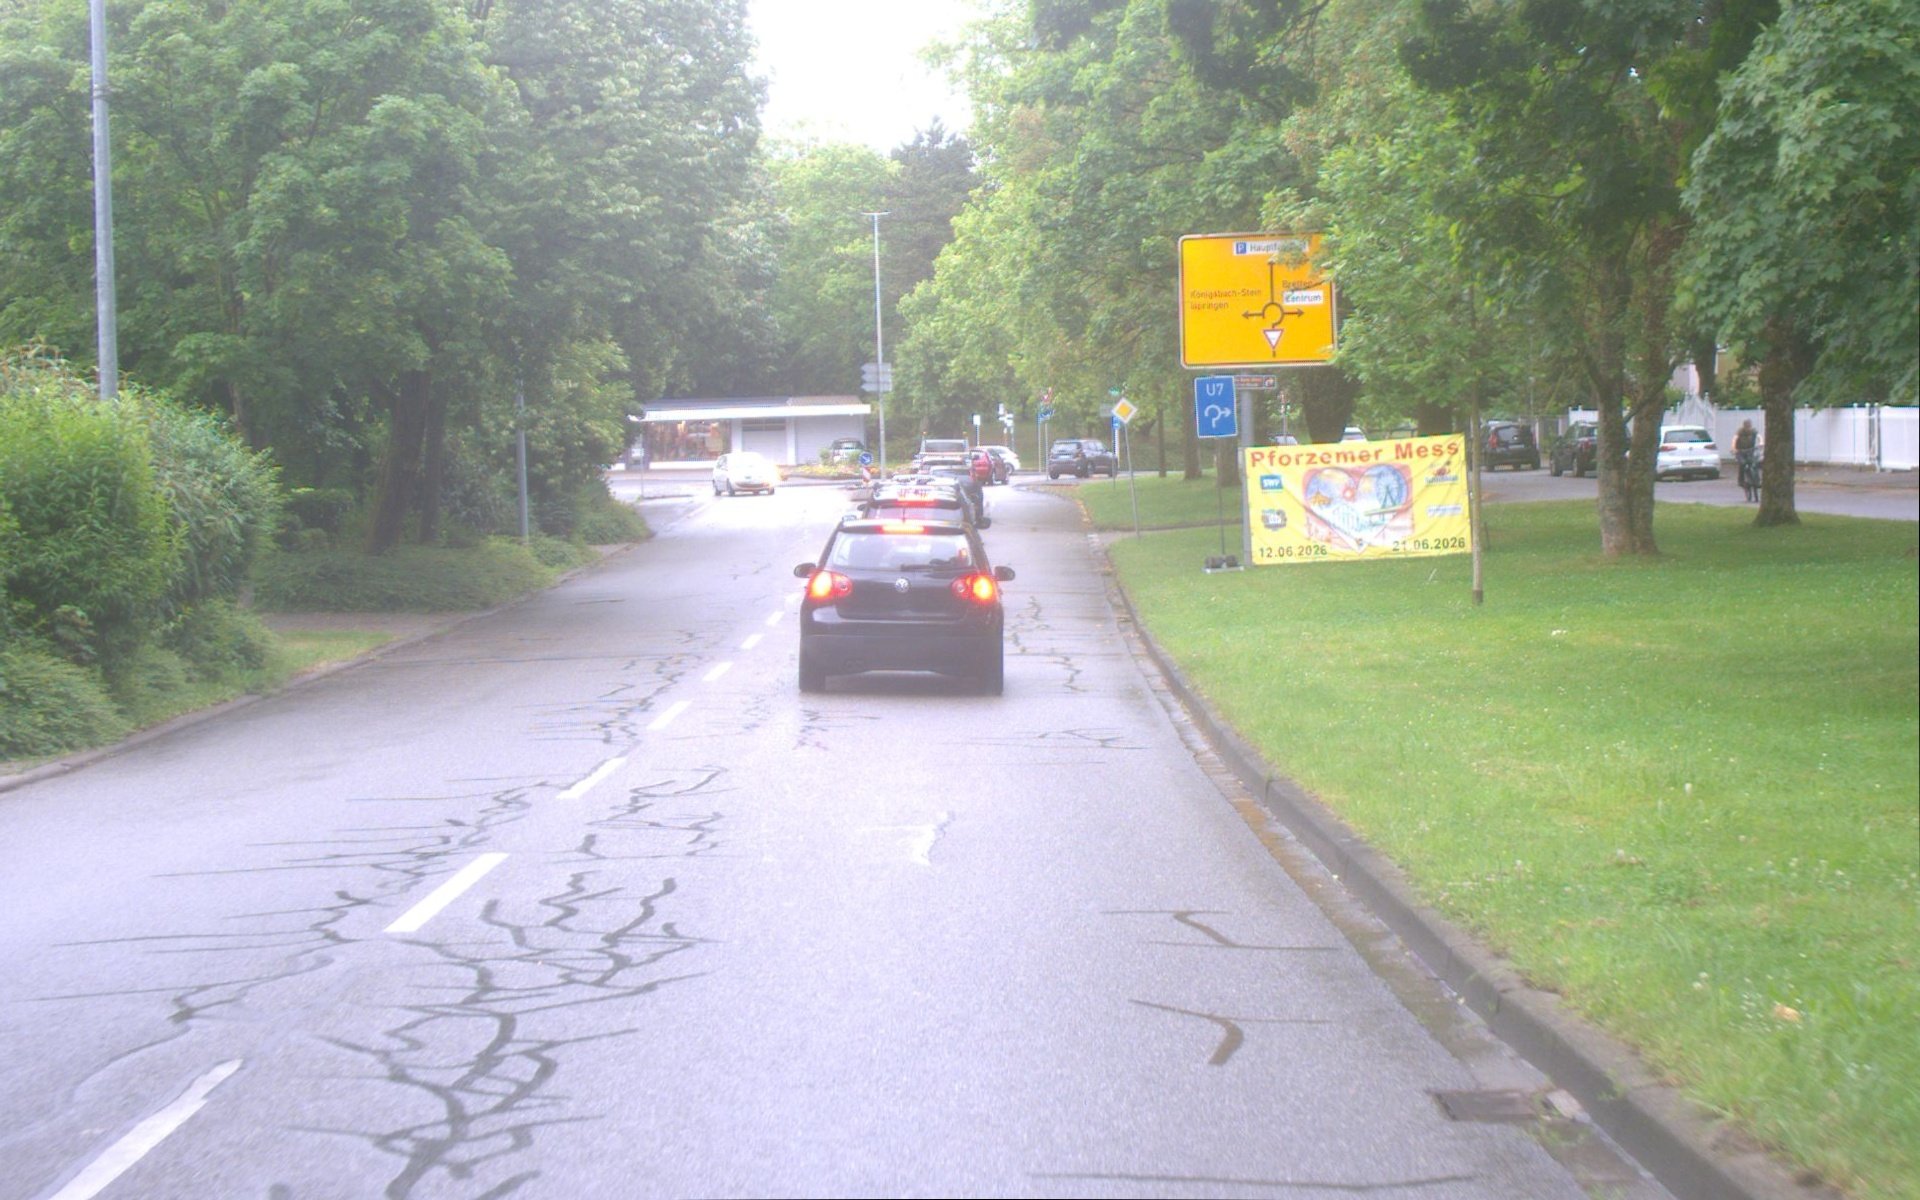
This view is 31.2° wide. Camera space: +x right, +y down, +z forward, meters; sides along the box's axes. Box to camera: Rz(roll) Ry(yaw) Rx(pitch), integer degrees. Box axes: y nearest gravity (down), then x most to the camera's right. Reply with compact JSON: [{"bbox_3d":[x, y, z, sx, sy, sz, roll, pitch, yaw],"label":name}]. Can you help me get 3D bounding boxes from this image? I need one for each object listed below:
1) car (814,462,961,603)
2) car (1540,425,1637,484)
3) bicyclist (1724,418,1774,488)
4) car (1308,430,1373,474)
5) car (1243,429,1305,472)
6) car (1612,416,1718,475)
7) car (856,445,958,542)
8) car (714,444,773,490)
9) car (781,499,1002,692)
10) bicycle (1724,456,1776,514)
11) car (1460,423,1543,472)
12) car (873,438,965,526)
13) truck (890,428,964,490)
[{"bbox_3d":[-0.946,-0.966,47.020,1.855,1.778,4.001,-2,2,0],"label":"car"},{"bbox_3d":[17.987,-4.179,98.480,1.801,1.524,4.114,-3,4,-2],"label":"car"},{"bbox_3d":[15.845,-2.954,69.045,0.744,1.386,1.000,-1,2,0],"label":"bicyclist"},{"bbox_3d":[13.646,-5.318,123.434,1.803,1.401,4.001,-3,3,0],"label":"car"},{"bbox_3d":[11.265,-5.378,123.540,1.803,1.380,4.001,-3,3,0],"label":"car"},{"bbox_3d":[18.608,-4.105,90.906,1.616,1.404,4.012,-3,4,-5],"label":"car"},{"bbox_3d":[-1.006,-2.104,67.092,1.855,1.778,4.001,-2,2,0],"label":"car"},{"bbox_3d":[-8.232,-5.061,130.573,1.763,1.608,4.142,-3,3,-9],"label":"car"},{"bbox_3d":[-0.551,-0.093,30.149,1.799,1.510,3.754,1,2,0],"label":"car"},{"bbox_3d":[15.859,-2.320,69.047,0.595,1.134,1.864,-1,2,0],"label":"bicycle"},{"bbox_3d":[17.368,-4.928,110.450,1.801,1.406,4.114,-3,4,-2],"label":"car"},{"bbox_3d":[-0.857,-2.541,73.651,1.855,1.778,4.001,-2,2,0],"label":"car"},{"bbox_3d":[-1.173,-4.852,117.944,2.416,1.997,5.152,-2,3,-1],"label":"truck"}]
